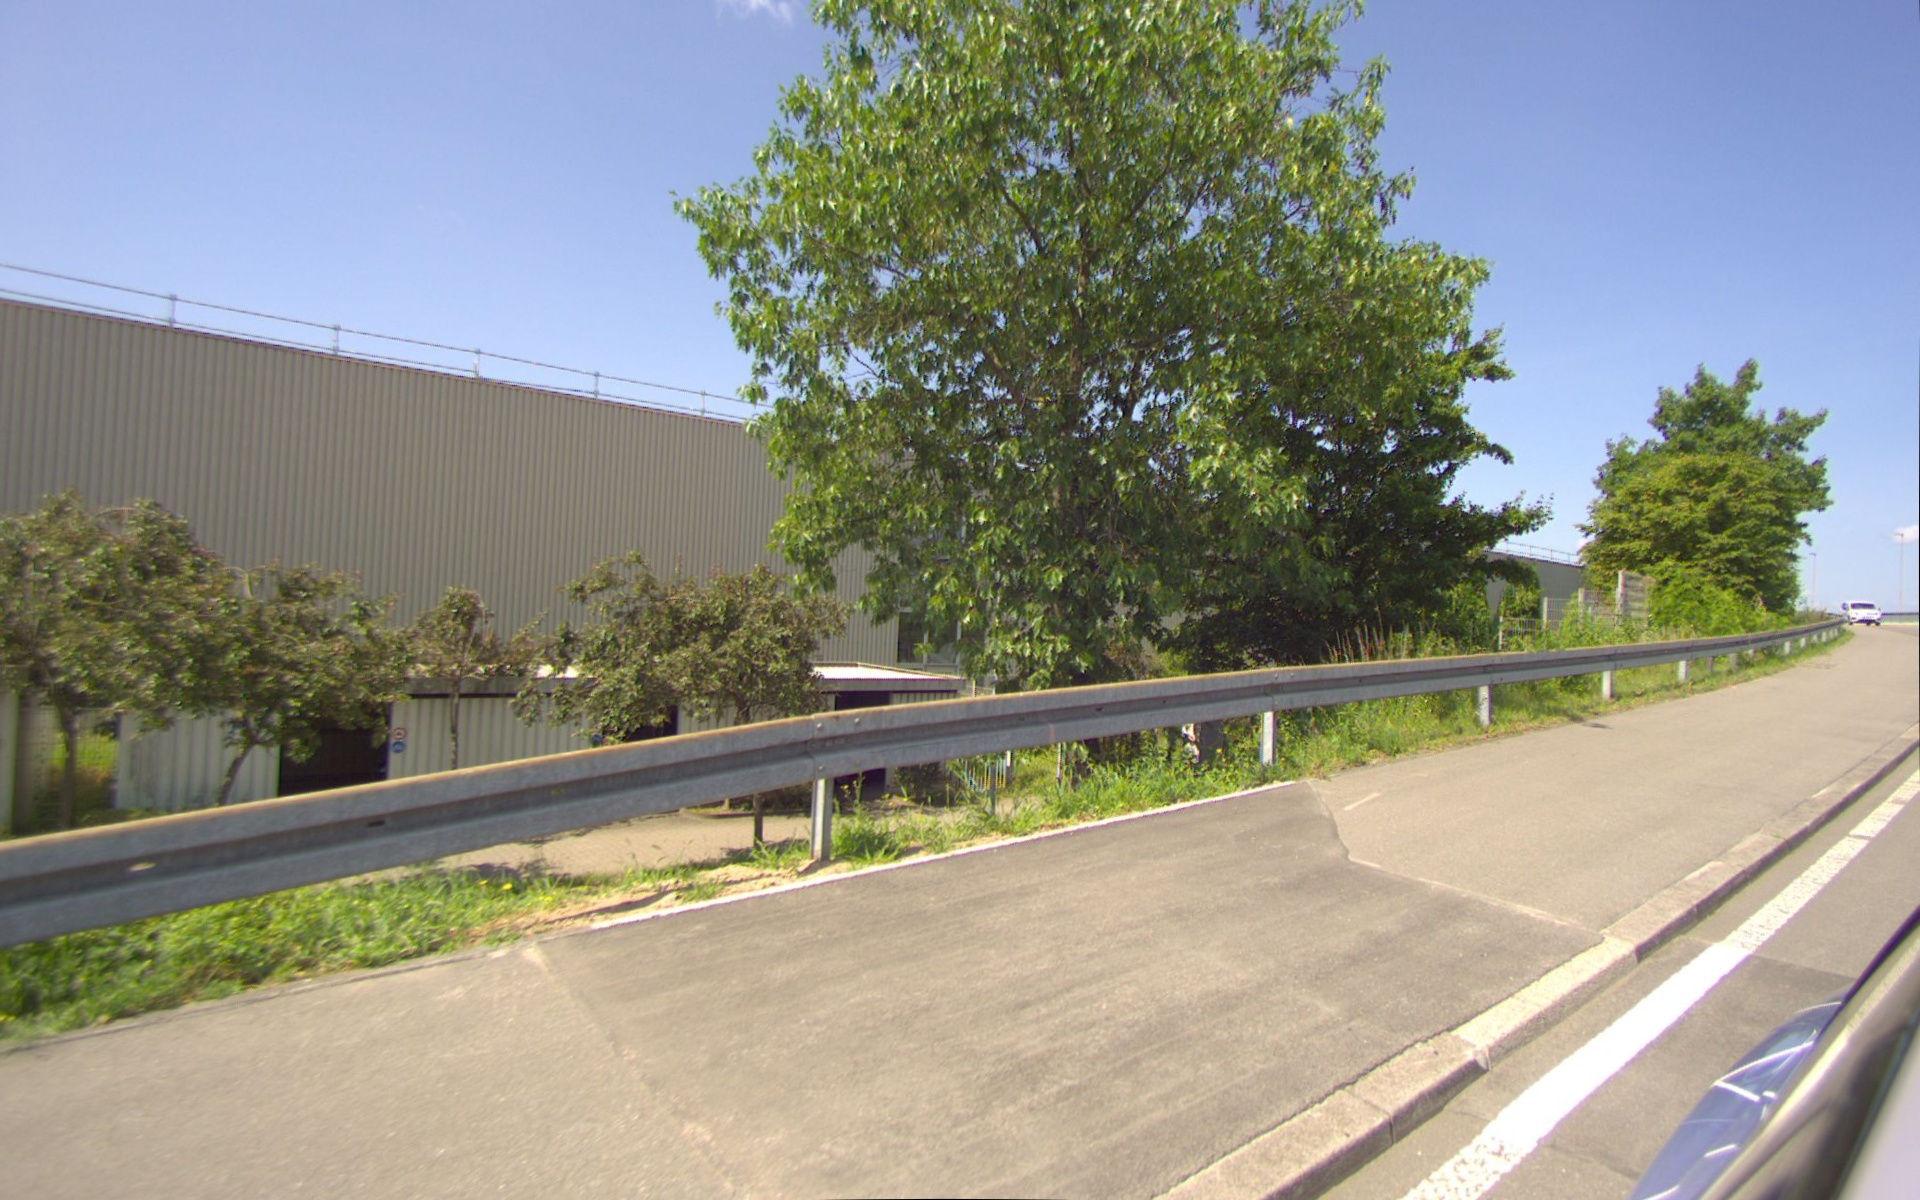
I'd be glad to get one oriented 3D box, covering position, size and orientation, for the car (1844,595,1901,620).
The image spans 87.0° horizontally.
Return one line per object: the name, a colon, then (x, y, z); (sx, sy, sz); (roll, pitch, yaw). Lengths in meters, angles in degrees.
car: (68.004, 0.561, 75.482); (2.074, 1.784, 4.241); (-1, -2, 27)
